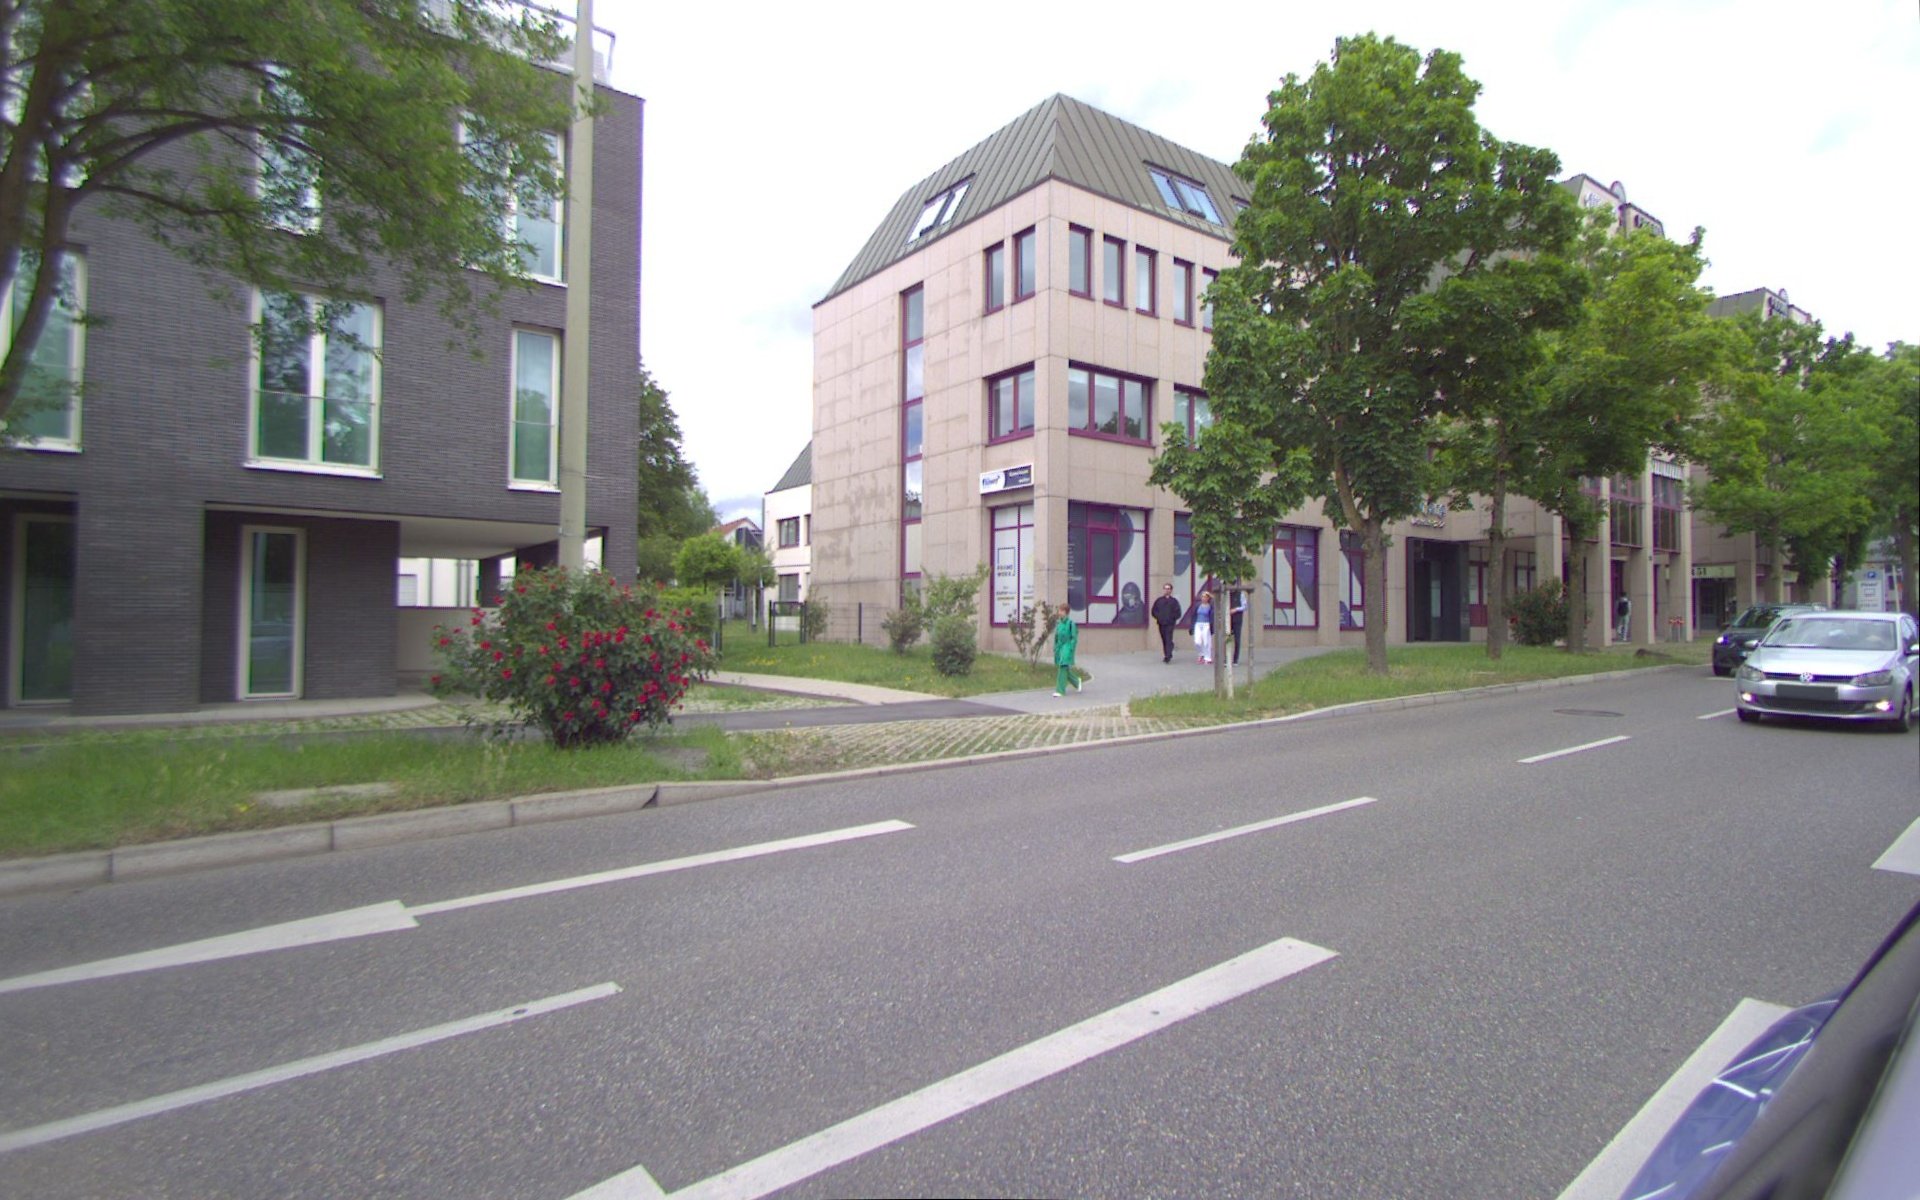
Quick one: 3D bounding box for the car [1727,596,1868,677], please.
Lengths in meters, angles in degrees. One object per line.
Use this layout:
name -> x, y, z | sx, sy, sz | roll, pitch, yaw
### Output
car -> 17.655, 0.687, 21.272 | 3.930, 1.531, 1.660 | -1, 0, -41

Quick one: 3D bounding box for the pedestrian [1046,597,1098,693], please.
pedestrian -> 1.860, 0.737, 16.841 | 0.665, 1.537, 0.496 | 0, 2, -41

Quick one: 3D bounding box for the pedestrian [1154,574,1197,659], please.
pedestrian -> 4.746, 0.353, 22.292 | 0.665, 1.828, 0.642 | 0, -1, -41

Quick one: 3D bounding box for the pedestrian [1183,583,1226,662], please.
pedestrian -> 5.273, 0.467, 21.835 | 0.665, 1.668, 0.642 | 0, -1, -41

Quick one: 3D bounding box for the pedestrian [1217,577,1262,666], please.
pedestrian -> 5.875, 0.444, 21.300 | 0.665, 1.828, 0.642 | 0, -1, -41

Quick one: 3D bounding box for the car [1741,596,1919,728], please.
car -> 11.694, 0.700, 13.187 | 3.609, 1.487, 1.609 | 0, 0, -39
